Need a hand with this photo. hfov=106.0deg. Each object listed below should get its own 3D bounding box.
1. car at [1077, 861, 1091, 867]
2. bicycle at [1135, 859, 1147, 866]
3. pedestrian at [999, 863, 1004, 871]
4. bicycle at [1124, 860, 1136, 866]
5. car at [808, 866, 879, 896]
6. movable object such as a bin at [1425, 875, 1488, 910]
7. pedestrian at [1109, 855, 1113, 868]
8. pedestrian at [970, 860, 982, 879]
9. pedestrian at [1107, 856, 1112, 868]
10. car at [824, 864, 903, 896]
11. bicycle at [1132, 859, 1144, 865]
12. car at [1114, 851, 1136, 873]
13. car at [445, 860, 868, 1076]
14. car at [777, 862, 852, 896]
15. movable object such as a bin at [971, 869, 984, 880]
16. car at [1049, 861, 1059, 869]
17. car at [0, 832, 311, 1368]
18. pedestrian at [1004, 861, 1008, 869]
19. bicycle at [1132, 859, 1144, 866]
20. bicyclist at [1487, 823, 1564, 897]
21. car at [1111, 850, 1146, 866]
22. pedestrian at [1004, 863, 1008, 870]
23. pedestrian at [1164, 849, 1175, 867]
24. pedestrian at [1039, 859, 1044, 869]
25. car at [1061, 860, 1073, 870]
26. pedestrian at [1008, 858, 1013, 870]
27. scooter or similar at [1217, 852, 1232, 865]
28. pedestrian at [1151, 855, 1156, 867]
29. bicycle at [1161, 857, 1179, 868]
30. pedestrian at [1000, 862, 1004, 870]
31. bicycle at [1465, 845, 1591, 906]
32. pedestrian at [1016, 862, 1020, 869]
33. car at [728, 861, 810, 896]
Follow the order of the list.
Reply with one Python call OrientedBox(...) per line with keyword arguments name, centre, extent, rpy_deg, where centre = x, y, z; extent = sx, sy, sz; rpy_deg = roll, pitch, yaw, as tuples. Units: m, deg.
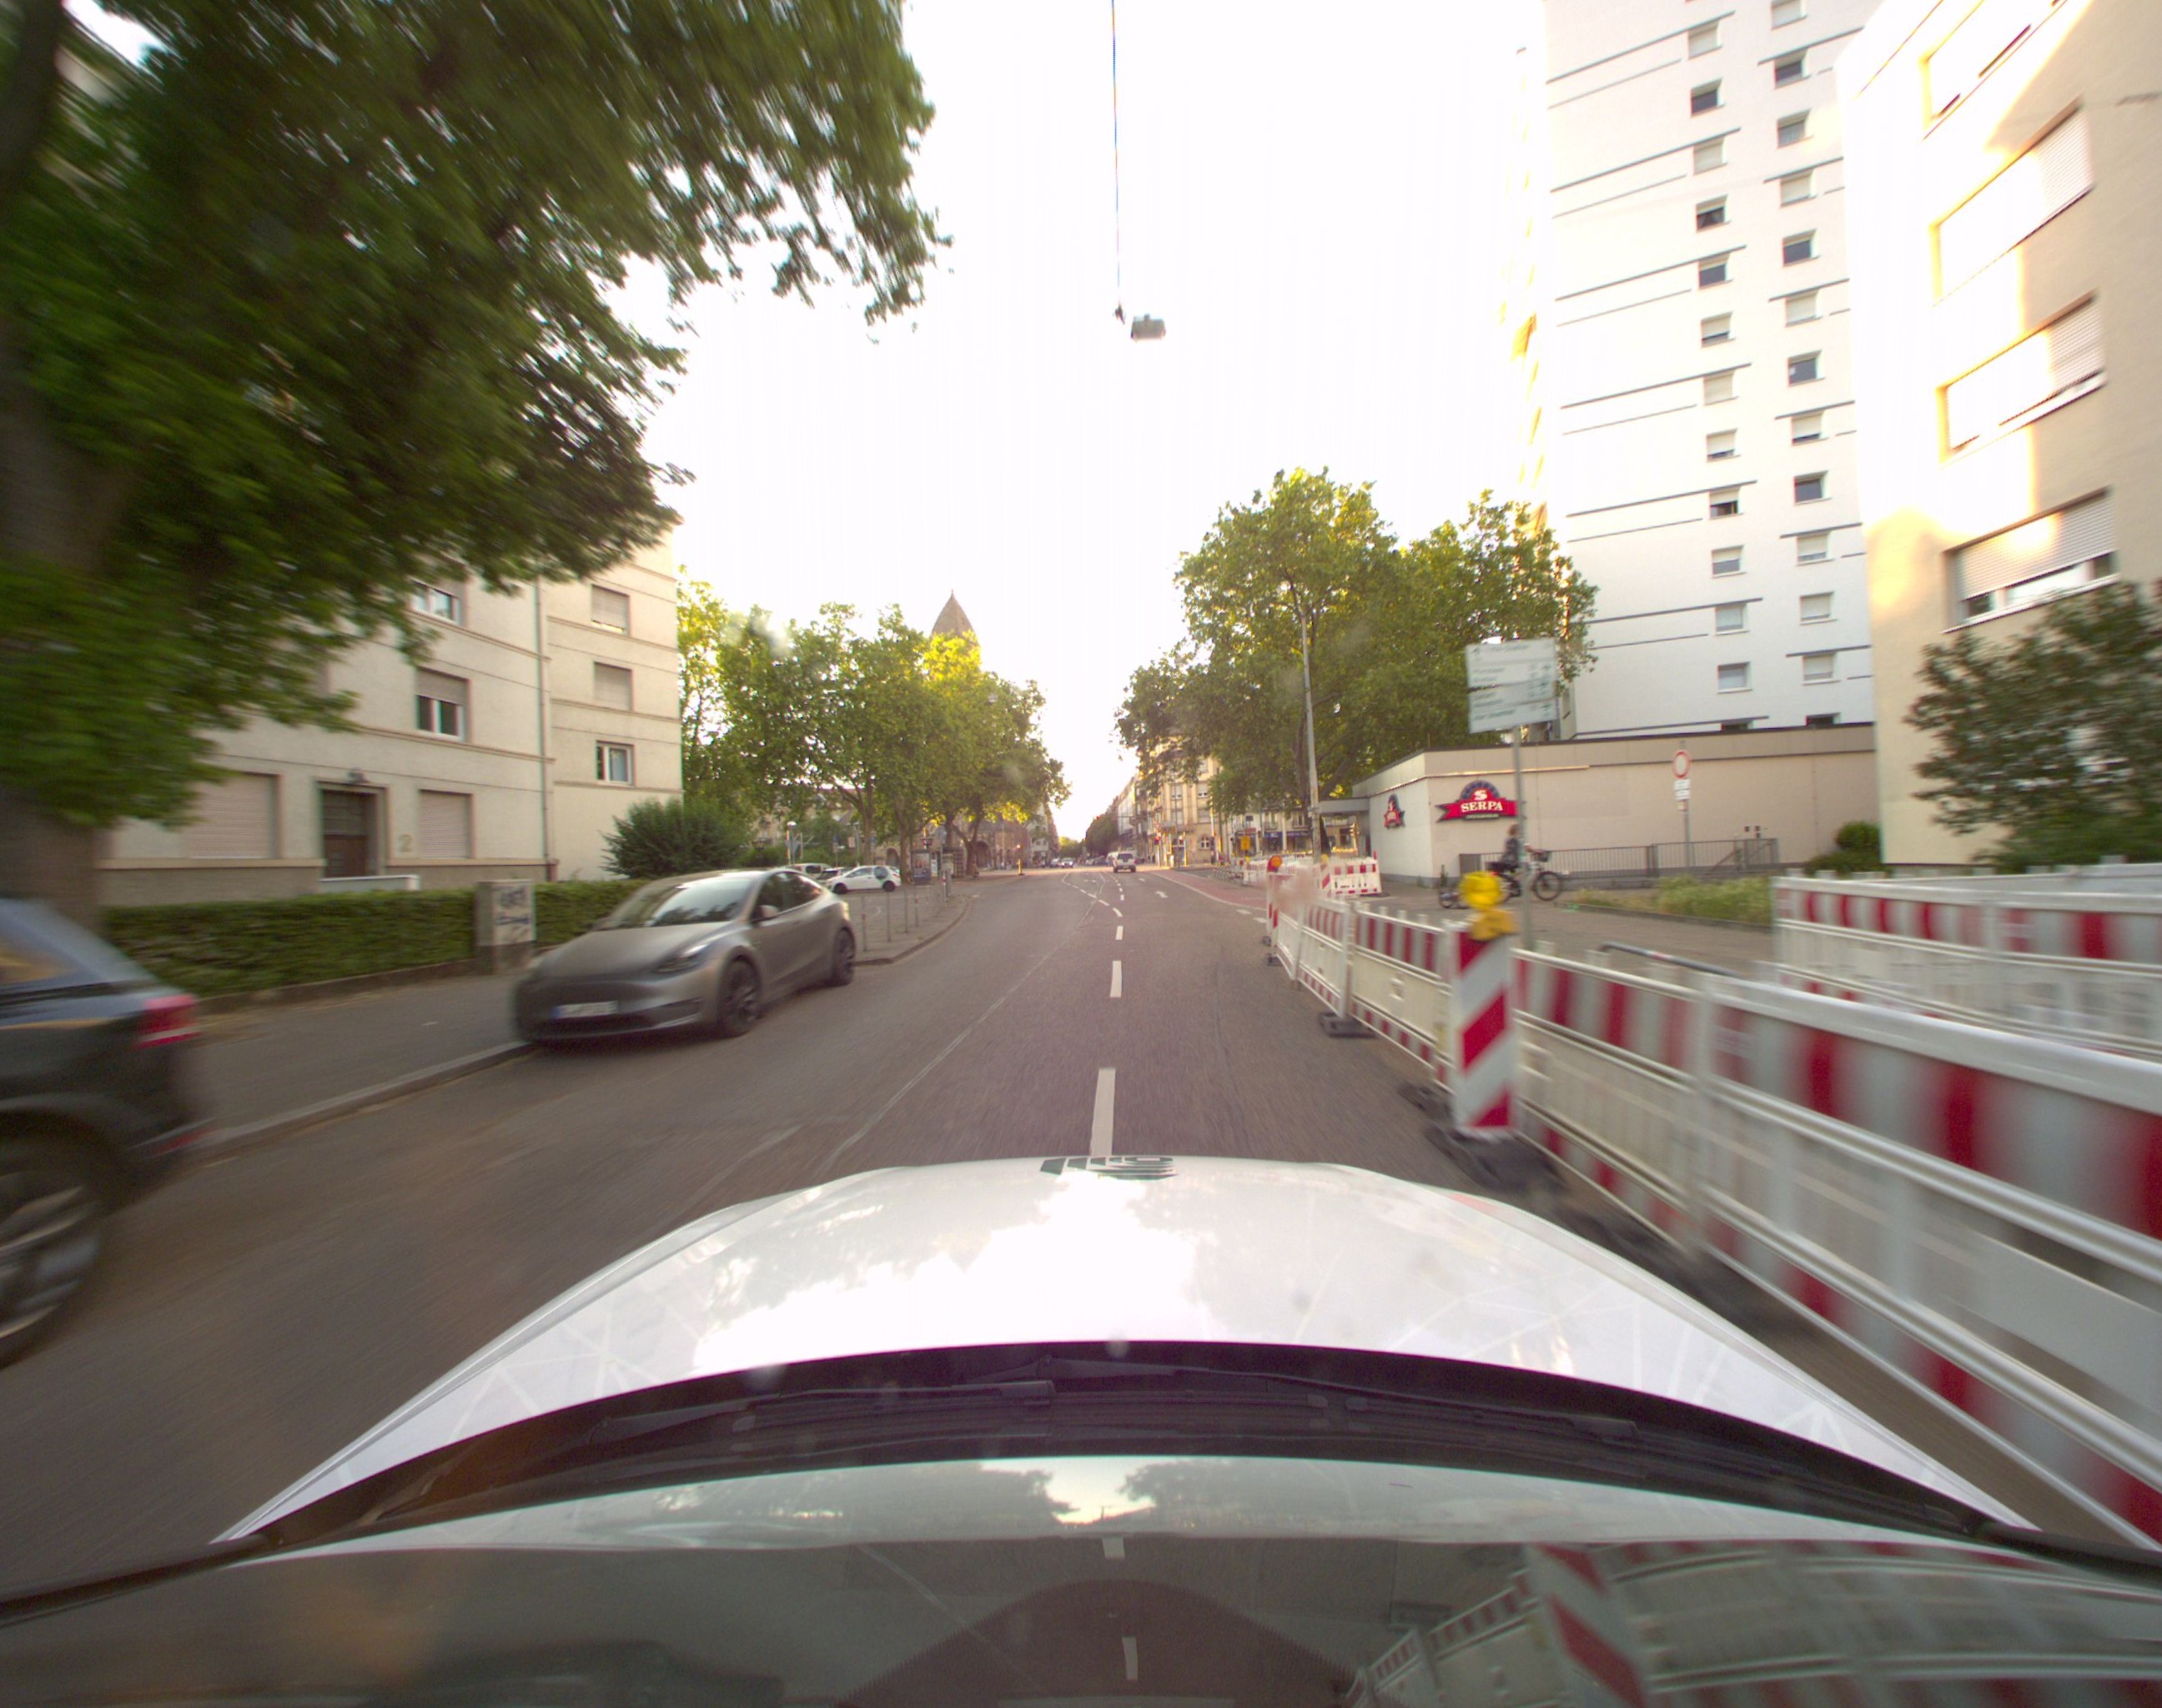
OrientedBox(name="car", centre=(1.000, 3.001, 242.592), extent=(3.978, 1.816, 1.998), rpy_deg=(-2, 0, -3))
OrientedBox(name="bicycle", centre=(9.537, 1.371, 129.365), extent=(1.900, 0.968, 0.548), rpy_deg=(-3, -1, 17))
OrientedBox(name="pedestrian", centre=(-13.714, 2.257, 140.170), extent=(0.568, 1.291, 0.488), rpy_deg=(-3, -1, 15))
OrientedBox(name="bicycle", centre=(7.767, 1.402, 129.080), extent=(1.912, 0.968, 0.544), rpy_deg=(-3, -1, -6))
OrientedBox(name="car", centre=(-14.176, 1.565, 48.881), extent=(1.805, 1.481, 4.652), rpy_deg=(-3, 0, 17))
OrientedBox(name="movable object such as a bin", centre=(8.784, 0.889, 19.074), extent=(0.987, 0.689, 0.942), rpy_deg=(-5, -1, 0))
OrientedBox(name="pedestrian", centre=(4.595, 1.147, 124.345), extent=(0.590, 1.886, 0.648), rpy_deg=(-3, -1, 5))
OrientedBox(name="pedestrian", centre=(-9.232, 1.374, 71.614), extent=(0.733, 1.629, 0.689), rpy_deg=(-3, -1, 15))
OrientedBox(name="pedestrian", centre=(4.597, 1.218, 130.959), extent=(0.590, 1.886, 0.648), rpy_deg=(-3, -1, 5))
OrientedBox(name="car", centre=(-11.660, 1.379, 43.888), extent=(3.991, 1.519, 1.991), rpy_deg=(-2, 0, -13))
OrientedBox(name="bicycle", centre=(8.976, 1.255, 128.323), extent=(1.908, 0.968, 0.546), rpy_deg=(-3, -1, 1))
OrientedBox(name="car", centre=(3.901, 0.701, 72.685), extent=(1.859, 1.815, 4.002), rpy_deg=(-4, -1, 2))
OrientedBox(name="car", centre=(-4.088, 0.950, 8.969), extent=(1.946, 1.616, 4.608), rpy_deg=(-5, -1, 3))
OrientedBox(name="car", centre=(-16.591, 1.516, 50.990), extent=(1.803, 1.800, 4.657), rpy_deg=(-3, 0, 22))
OrientedBox(name="movable object such as a bin", centre=(-8.970, 1.745, 70.654), extent=(0.732, 0.890, 0.987), rpy_deg=(-3, 0, 15))
OrientedBox(name="car", centre=(-5.681, 2.355, 169.663), extent=(1.990, 1.651, 3.815), rpy_deg=(-1, -1, -5))
OrientedBox(name="car", centre=(-4.557, 0.856, 1.254), extent=(1.946, 1.719, 4.774), rpy_deg=(-5, -1, 3))
OrientedBox(name="pedestrian", centre=(-12.952, 1.909, 140.103), extent=(0.493, 1.286, 0.495), rpy_deg=(-3, -1, 20))
OrientedBox(name="bicycle", centre=(9.024, 1.371, 128.600), extent=(1.908, 0.968, 0.546), rpy_deg=(-3, -1, 1))
OrientedBox(name="bicyclist", centre=(10.387, 0.144, 19.074), extent=(1.139, 1.581, 0.942), rpy_deg=(-5, -1, 0))
OrientedBox(name="car", centre=(7.924, 0.646, 134.910), extent=(5.853, 2.288, 2.048), rpy_deg=(-2, -1, -40))
OrientedBox(name="pedestrian", centre=(-12.931, 2.132, 141.064), extent=(0.499, 1.280, 0.489), rpy_deg=(-2, -1, -21))
OrientedBox(name="pedestrian", centre=(8.919, 0.449, 81.881), extent=(0.796, 1.768, 0.718), rpy_deg=(-2, -1, -14))
OrientedBox(name="pedestrian", centre=(-7.467, 1.873, 154.216), extent=(0.588, 1.886, 0.588), rpy_deg=(-3, -1, 20))
OrientedBox(name="car", centre=(-2.458, 1.880, 139.895), extent=(1.778, 1.651, 3.815), rpy_deg=(-1, -1, -5))
OrientedBox(name="pedestrian", centre=(-11.820, 1.676, 137.227), extent=(0.588, 1.886, 0.557), rpy_deg=(-3, -1, 27))
OrientedBox(name="scooter or similar", centre=(14.248, 0.455, 80.748), extent=(0.548, 1.250, 1.375), rpy_deg=(-2, -1, -36))
OrientedBox(name="pedestrian", centre=(10.976, 1.077, 123.214), extent=(0.590, 1.886, 0.648), rpy_deg=(-3, -1, 5))
OrientedBox(name="bicycle", centre=(8.897, 0.870, 81.378), extent=(1.688, 0.968, 0.545), rpy_deg=(-3, -1, -4))
OrientedBox(name="pedestrian", centre=(-13.690, 2.022, 141.154), extent=(0.568, 1.320, 0.488), rpy_deg=(-3, -1, 15))
OrientedBox(name="bicycle", centre=(10.420, 0.500, 19.068), extent=(2.343, 1.172, 0.942), rpy_deg=(-5, -1, 0))
OrientedBox(name="pedestrian", centre=(-11.283, 2.080, 145.220), extent=(0.568, 1.291, 0.488), rpy_deg=(-3, -1, 15))
OrientedBox(name="car", centre=(-19.315, 1.503, 50.705), extent=(2.060, 1.841, 4.657), rpy_deg=(-3, 0, 22))
